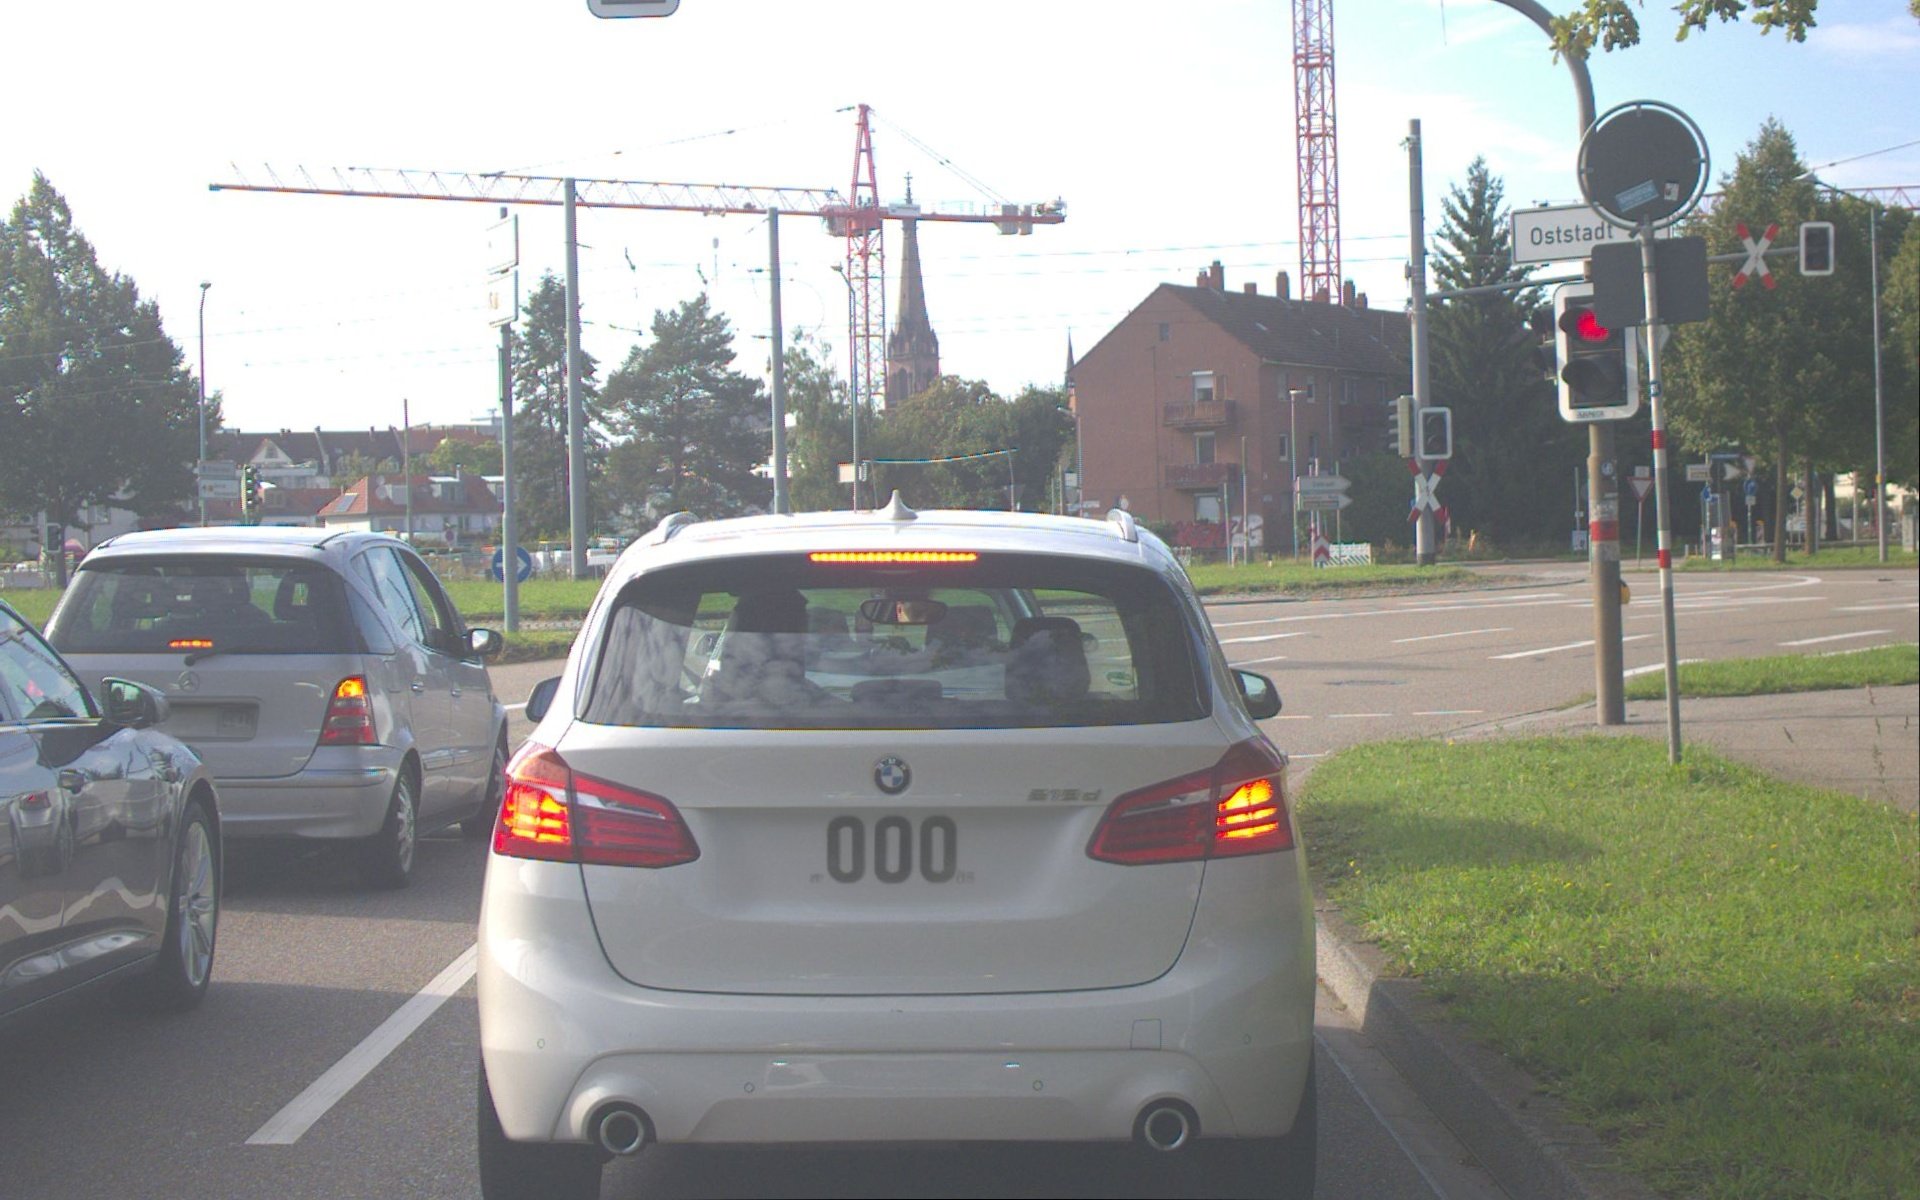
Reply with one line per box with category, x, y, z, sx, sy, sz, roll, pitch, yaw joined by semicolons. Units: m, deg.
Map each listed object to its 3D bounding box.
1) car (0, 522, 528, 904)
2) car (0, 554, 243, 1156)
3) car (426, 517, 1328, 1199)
car;-3.130;0.423;16.039;1.729;1.553;4.058;0;1;0
car;-3.312;0.617;9.186;1.890;1.478;4.613;0;1;-1
car;-0.187;0.579;8.637;1.729;1.553;4.058;0;1;-1
